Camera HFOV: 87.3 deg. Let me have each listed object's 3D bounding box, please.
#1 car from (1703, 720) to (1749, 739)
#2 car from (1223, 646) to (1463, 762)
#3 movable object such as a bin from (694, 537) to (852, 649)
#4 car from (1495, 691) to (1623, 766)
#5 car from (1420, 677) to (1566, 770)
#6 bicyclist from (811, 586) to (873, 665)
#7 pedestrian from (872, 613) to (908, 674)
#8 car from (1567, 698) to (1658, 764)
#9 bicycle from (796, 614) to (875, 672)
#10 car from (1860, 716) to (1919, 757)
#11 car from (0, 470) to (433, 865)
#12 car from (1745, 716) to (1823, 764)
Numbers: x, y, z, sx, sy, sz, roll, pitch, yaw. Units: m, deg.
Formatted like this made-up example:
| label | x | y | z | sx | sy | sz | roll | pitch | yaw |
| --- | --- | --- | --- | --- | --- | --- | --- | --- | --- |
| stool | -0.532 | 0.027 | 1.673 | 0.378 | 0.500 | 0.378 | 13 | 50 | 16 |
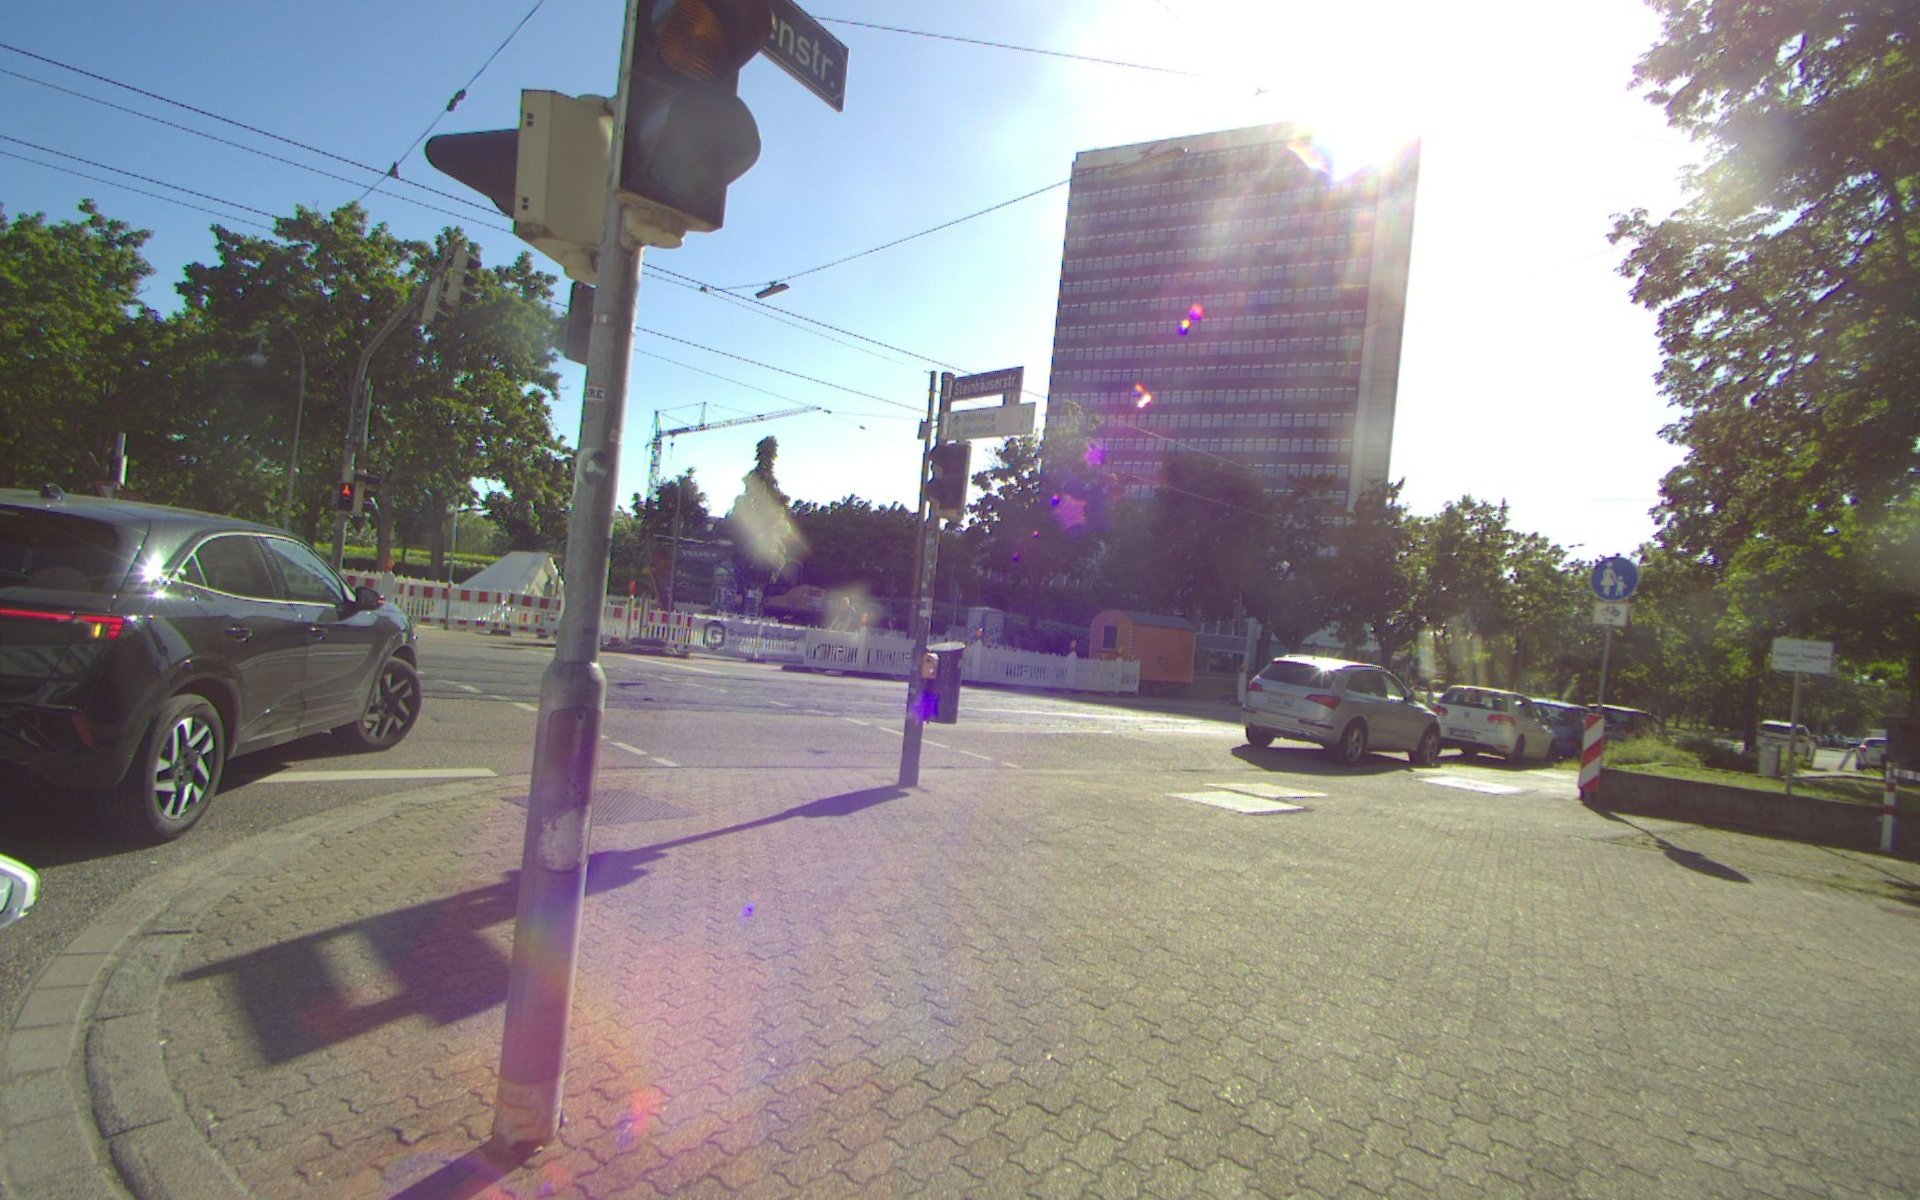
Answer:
| label | x | y | z | sx | sy | sz | roll | pitch | yaw |
| --- | --- | --- | --- | --- | --- | --- | --- | --- | --- |
| car | 72.914 | 12.350 | 95.771 | 1.296 | 1.303 | 3.297 | 8 | -3 | -44 |
| car | 6.738 | 1.836 | 17.528 | 4.288 | 1.639 | 1.916 | 7 | -1 | -39 |
| movable object such as a bin | -6.748 | -0.214 | 36.687 | 2.795 | 3.402 | 4.693 | 5 | -3 | 40 |
| car | 14.390 | 3.074 | 24.129 | 3.270 | 1.423 | 1.646 | 7 | 0 | -42 |
| car | 11.071 | 2.534 | 20.802 | 1.634 | 1.550 | 3.488 | 7 | 0 | 44 |
| bicyclist | -3.005 | 0.651 | 25.605 | 1.086 | 1.853 | 0.905 | 6 | 0 | -36 |
| pedestrian | -2.000 | 1.230 | 28.531 | 0.633 | 1.620 | 0.629 | 6 | -1 | -34 |
| car | 17.900 | 3.560 | 27.549 | 1.464 | 1.479 | 3.353 | 7 | 0 | 42 |
| bicycle | -3.151 | 1.098 | 25.538 | 1.768 | 1.281 | 0.648 | 7 | 0 | -37 |
| car | 45.468 | 6.654 | 49.010 | 3.848 | 1.695 | 1.791 | 8 | -2 | -40 |
| car | -4.655 | 0.226 | 5.731 | 1.758 | 1.535 | 3.750 | 7 | -2 | -11 |
| car | 33.128 | 5.619 | 40.417 | 3.512 | 1.567 | 1.789 | 7 | 0 | -42 |
